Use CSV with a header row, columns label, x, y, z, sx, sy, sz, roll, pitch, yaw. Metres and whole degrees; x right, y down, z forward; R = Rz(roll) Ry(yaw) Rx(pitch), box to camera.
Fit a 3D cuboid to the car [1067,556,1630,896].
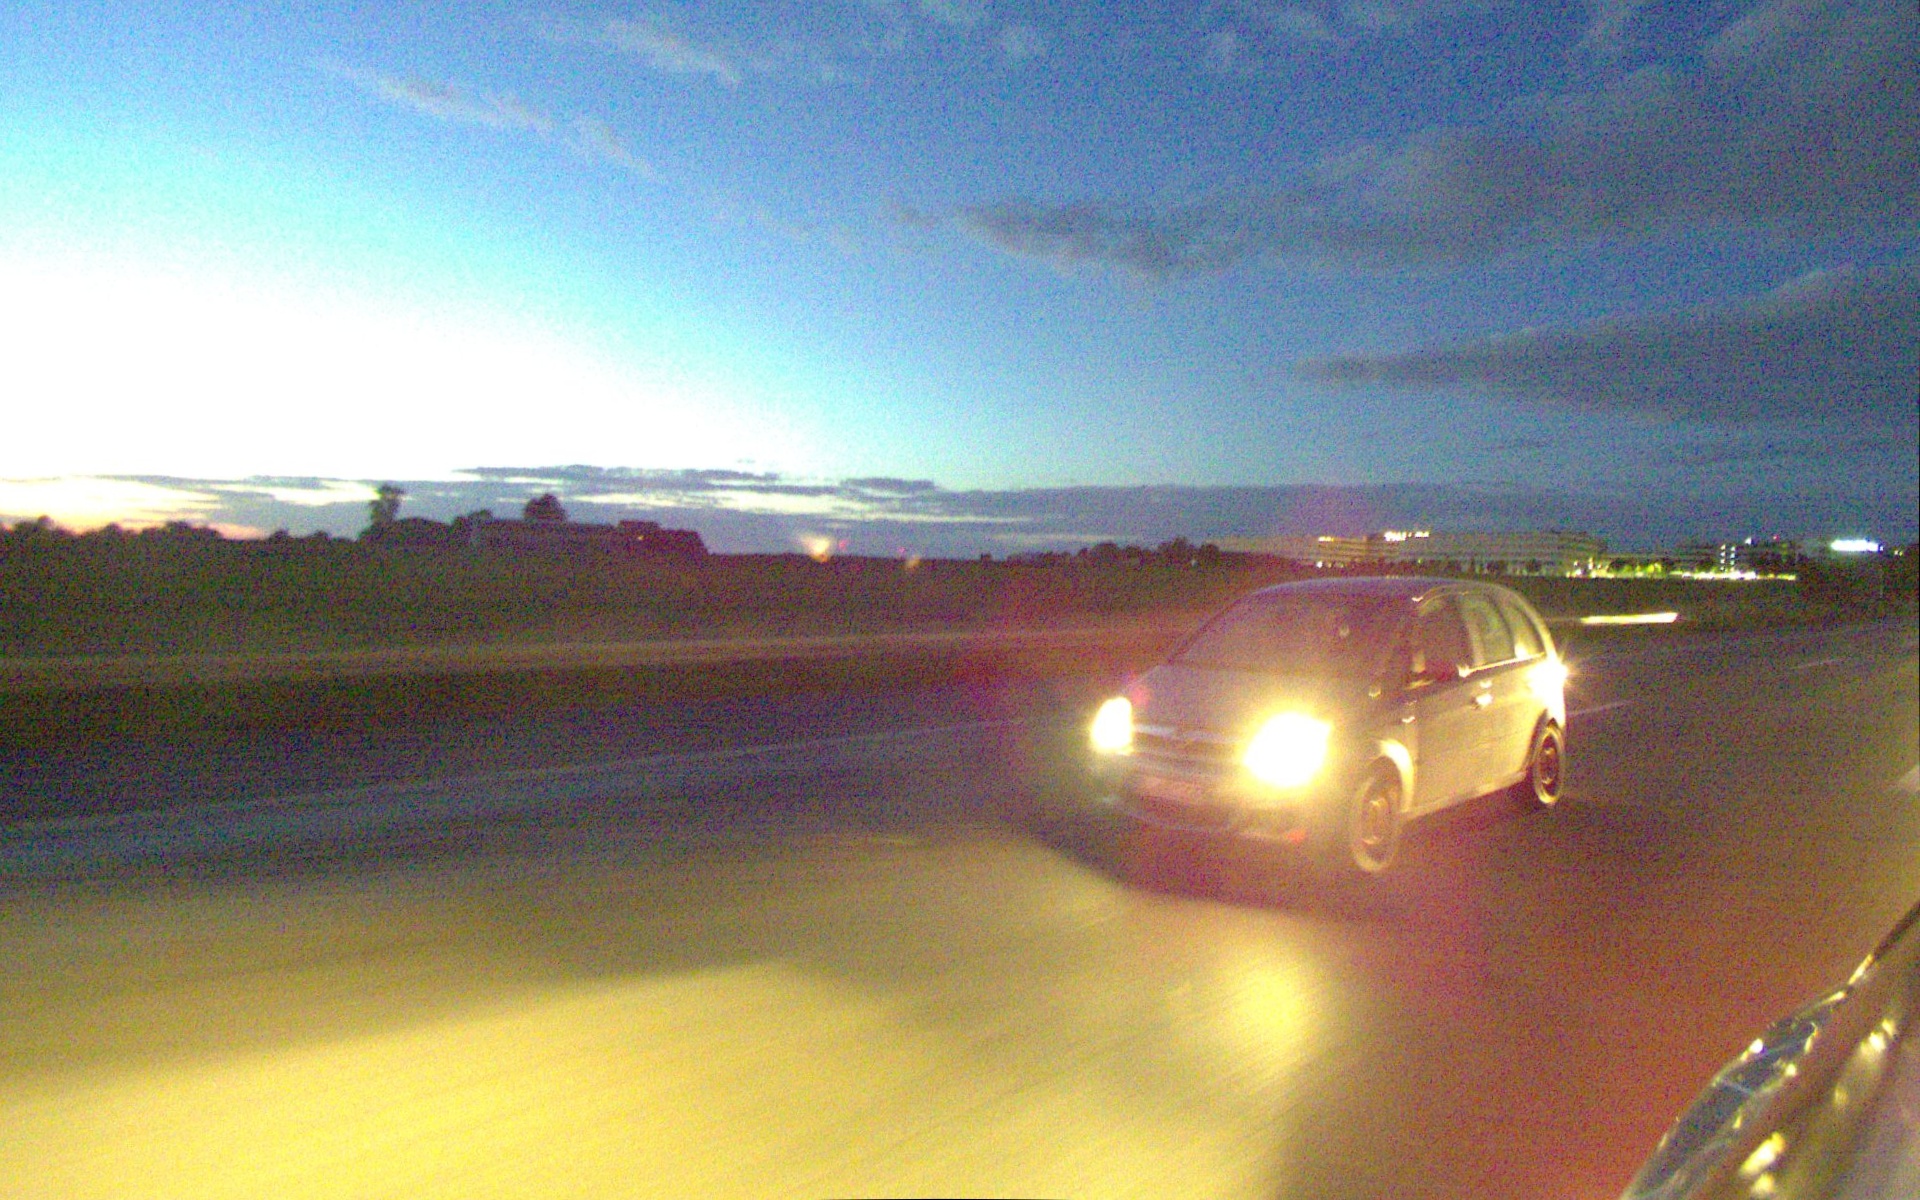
label,x,y,z,sx,sy,sz,roll,pitch,yaw
car,2.863,0.574,6.877,4.430,1.616,1.649,0,1,-41
